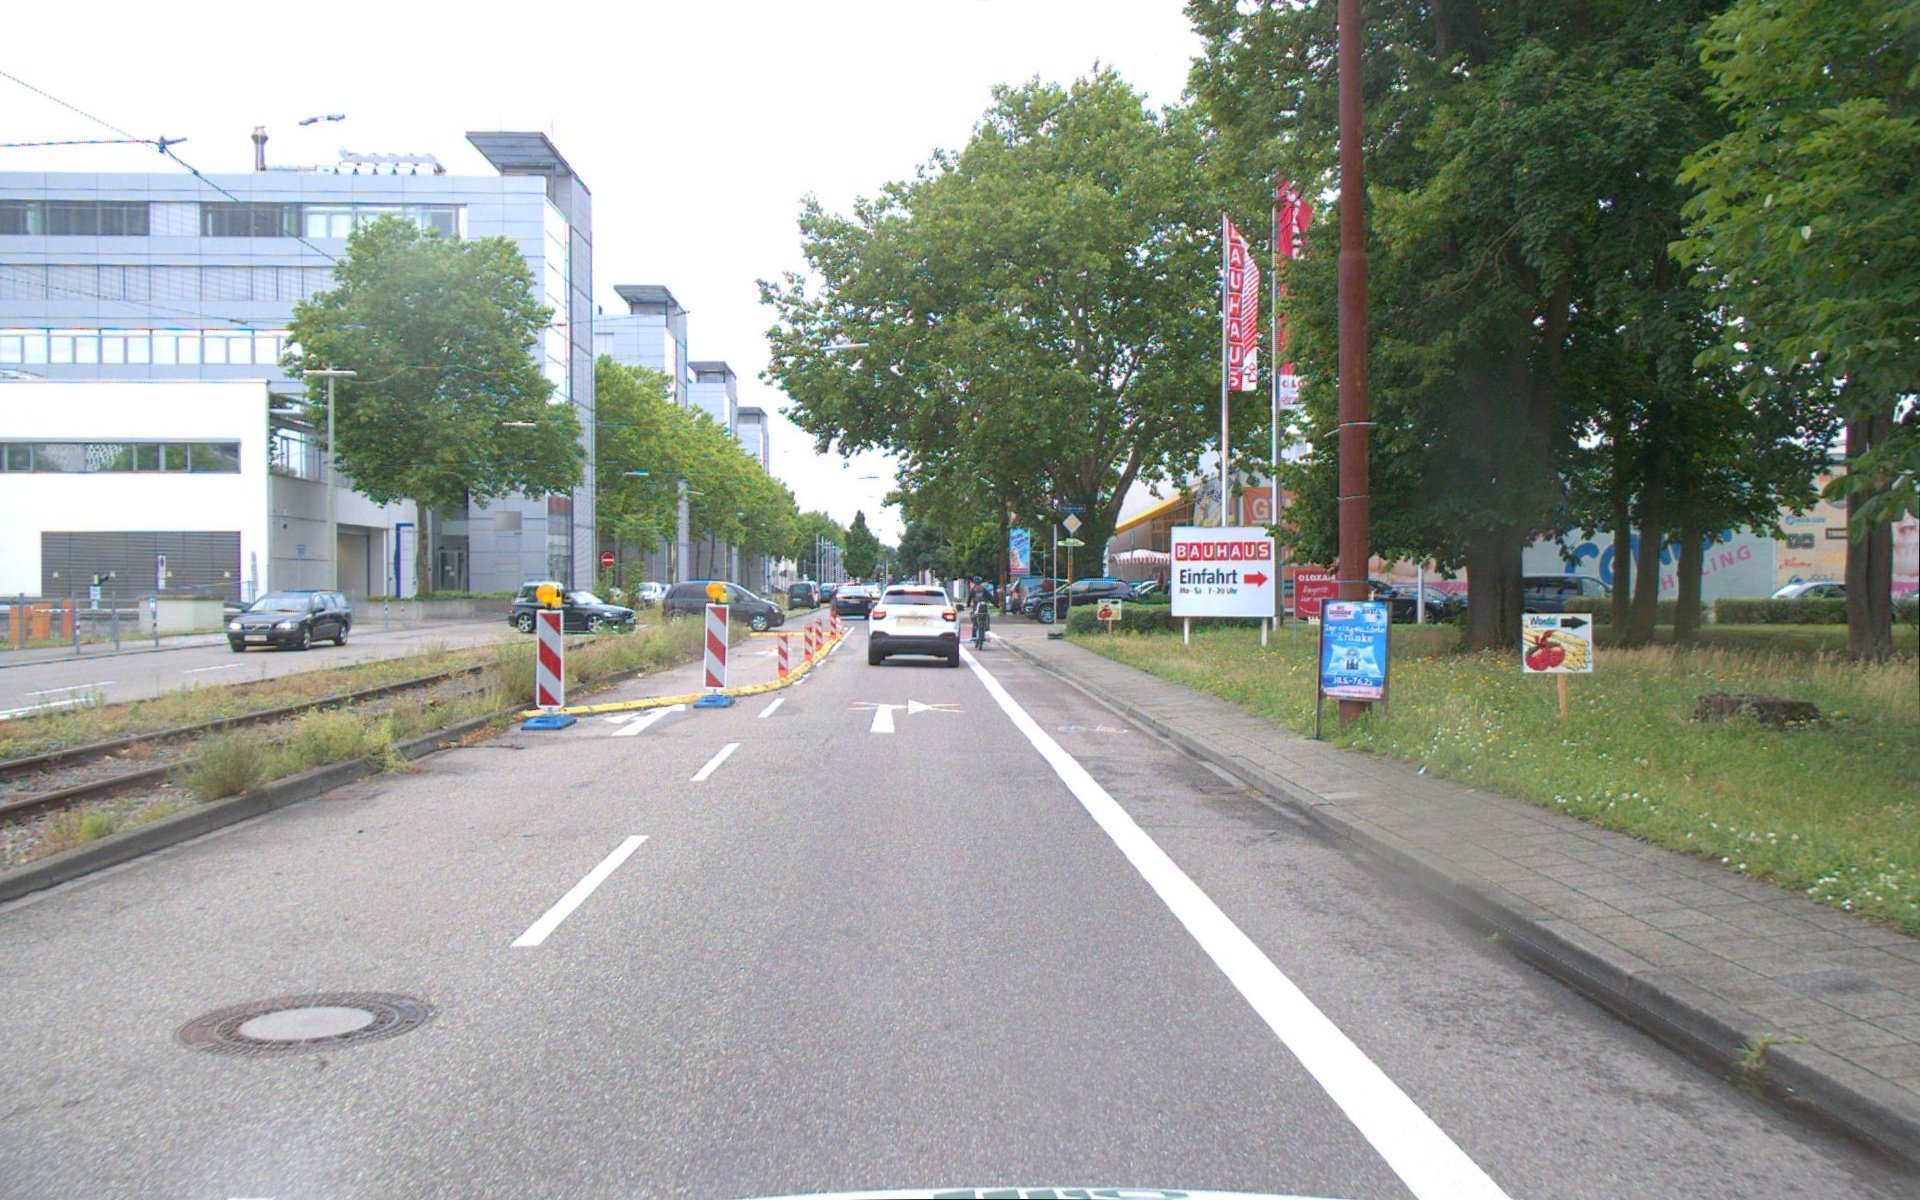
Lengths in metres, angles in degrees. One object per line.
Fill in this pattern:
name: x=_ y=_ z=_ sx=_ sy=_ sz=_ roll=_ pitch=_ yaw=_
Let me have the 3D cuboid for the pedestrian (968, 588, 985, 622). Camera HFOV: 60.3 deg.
pedestrian: x=0.829 y=0.243 z=83.559 sx=0.746 sy=1.734 sz=0.680 roll=-1 pitch=0 yaw=-7

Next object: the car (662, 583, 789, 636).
car: x=-7.480 y=0.306 z=53.001 sx=3.805 sy=1.583 sz=1.824 roll=1 pitch=0 yaw=-3

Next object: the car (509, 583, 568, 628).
car: x=-17.982 y=0.216 z=70.755 sx=1.784 sy=1.814 sz=4.421 roll=-1 pitch=0 yaw=-6

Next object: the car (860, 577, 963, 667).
car: x=-1.013 y=0.391 z=32.589 sx=1.788 sy=1.628 sz=3.772 roll=1 pitch=1 yaw=-5

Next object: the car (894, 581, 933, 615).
car: x=-2.367 y=-0.124 z=84.007 sx=1.840 sy=1.661 sz=3.997 roll=-1 pitch=1 yaw=-3

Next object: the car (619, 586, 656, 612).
car: x=-21.681 y=-0.083 z=111.376 sx=1.840 sy=1.661 sz=4.203 roll=-1 pitch=1 yaw=-3

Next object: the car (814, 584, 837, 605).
car: x=-11.540 y=-0.490 z=141.974 sx=1.840 sy=1.794 sz=3.997 roll=-1 pitch=1 yaw=-3

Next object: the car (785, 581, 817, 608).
car: x=-10.343 y=-0.372 z=107.789 sx=1.840 sy=1.661 sz=3.997 roll=-1 pitch=1 yaw=-3

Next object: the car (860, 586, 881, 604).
car: x=-8.218 y=-0.484 z=151.028 sx=1.760 sy=1.540 sz=3.702 roll=1 pitch=1 yaw=-5

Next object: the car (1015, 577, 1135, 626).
car: x=4.194 y=0.043 z=60.852 sx=4.227 sy=1.706 sz=1.992 roll=-1 pitch=0 yaw=-2

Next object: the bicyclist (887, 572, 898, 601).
bicyclist: x=-4.323 y=-0.889 z=105.839 sx=0.657 sy=1.847 sz=0.759 roll=1 pitch=1 yaw=-5

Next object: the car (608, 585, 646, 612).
car: x=-21.227 y=-0.096 z=105.533 sx=1.840 sy=1.661 sz=3.997 roll=-1 pitch=1 yaw=-3

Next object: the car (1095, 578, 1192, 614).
car: x=8.339 y=-0.200 z=75.432 sx=4.130 sy=1.579 sz=1.788 roll=-1 pitch=0 yaw=-5

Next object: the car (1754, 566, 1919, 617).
car: x=29.164 y=-0.294 z=55.118 sx=4.461 sy=1.599 sz=2.072 roll=-1 pitch=0 yaw=-2

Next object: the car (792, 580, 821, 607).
car: x=-10.502 y=-0.451 z=113.602 sx=1.840 sy=1.794 sz=3.997 roll=-1 pitch=1 yaw=-3

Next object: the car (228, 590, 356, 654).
car: x=-16.696 y=0.501 z=41.557 sx=1.784 sy=1.498 sz=4.421 roll=-1 pitch=0 yaw=-6

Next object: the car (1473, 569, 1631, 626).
car: x=19.511 y=-0.104 z=54.618 sx=4.461 sy=1.821 sz=2.073 roll=0 pitch=1 yaw=-2

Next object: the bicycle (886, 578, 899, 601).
bicycle: x=-4.315 y=-0.655 z=105.665 sx=0.657 sy=1.418 sz=2.165 roll=1 pitch=1 yaw=-5

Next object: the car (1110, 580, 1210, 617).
car: x=8.838 y=-0.083 z=73.308 sx=4.130 sy=1.579 sz=1.788 roll=-1 pitch=0 yaw=-5

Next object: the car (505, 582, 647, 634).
car: x=-12.145 y=0.268 z=52.378 sx=4.031 sy=1.501 sz=1.826 roll=-2 pitch=-1 yaw=20

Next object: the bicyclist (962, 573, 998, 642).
bicyclist: x=0.491 y=0.167 z=40.612 sx=0.800 sy=1.658 sz=1.234 roll=-1 pitch=0 yaw=-2

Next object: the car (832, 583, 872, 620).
car: x=-4.722 y=0.055 z=72.025 sx=1.651 sy=1.540 sz=3.702 roll=1 pitch=1 yaw=-5

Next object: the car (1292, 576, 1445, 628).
car: x=13.235 y=0.068 z=53.797 sx=4.461 sy=1.599 sz=1.992 roll=-1 pitch=0 yaw=-2

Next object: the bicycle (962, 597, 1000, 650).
bicycle: x=0.498 y=0.565 z=40.616 sx=0.800 sy=1.234 sz=2.682 roll=-1 pitch=0 yaw=-2
